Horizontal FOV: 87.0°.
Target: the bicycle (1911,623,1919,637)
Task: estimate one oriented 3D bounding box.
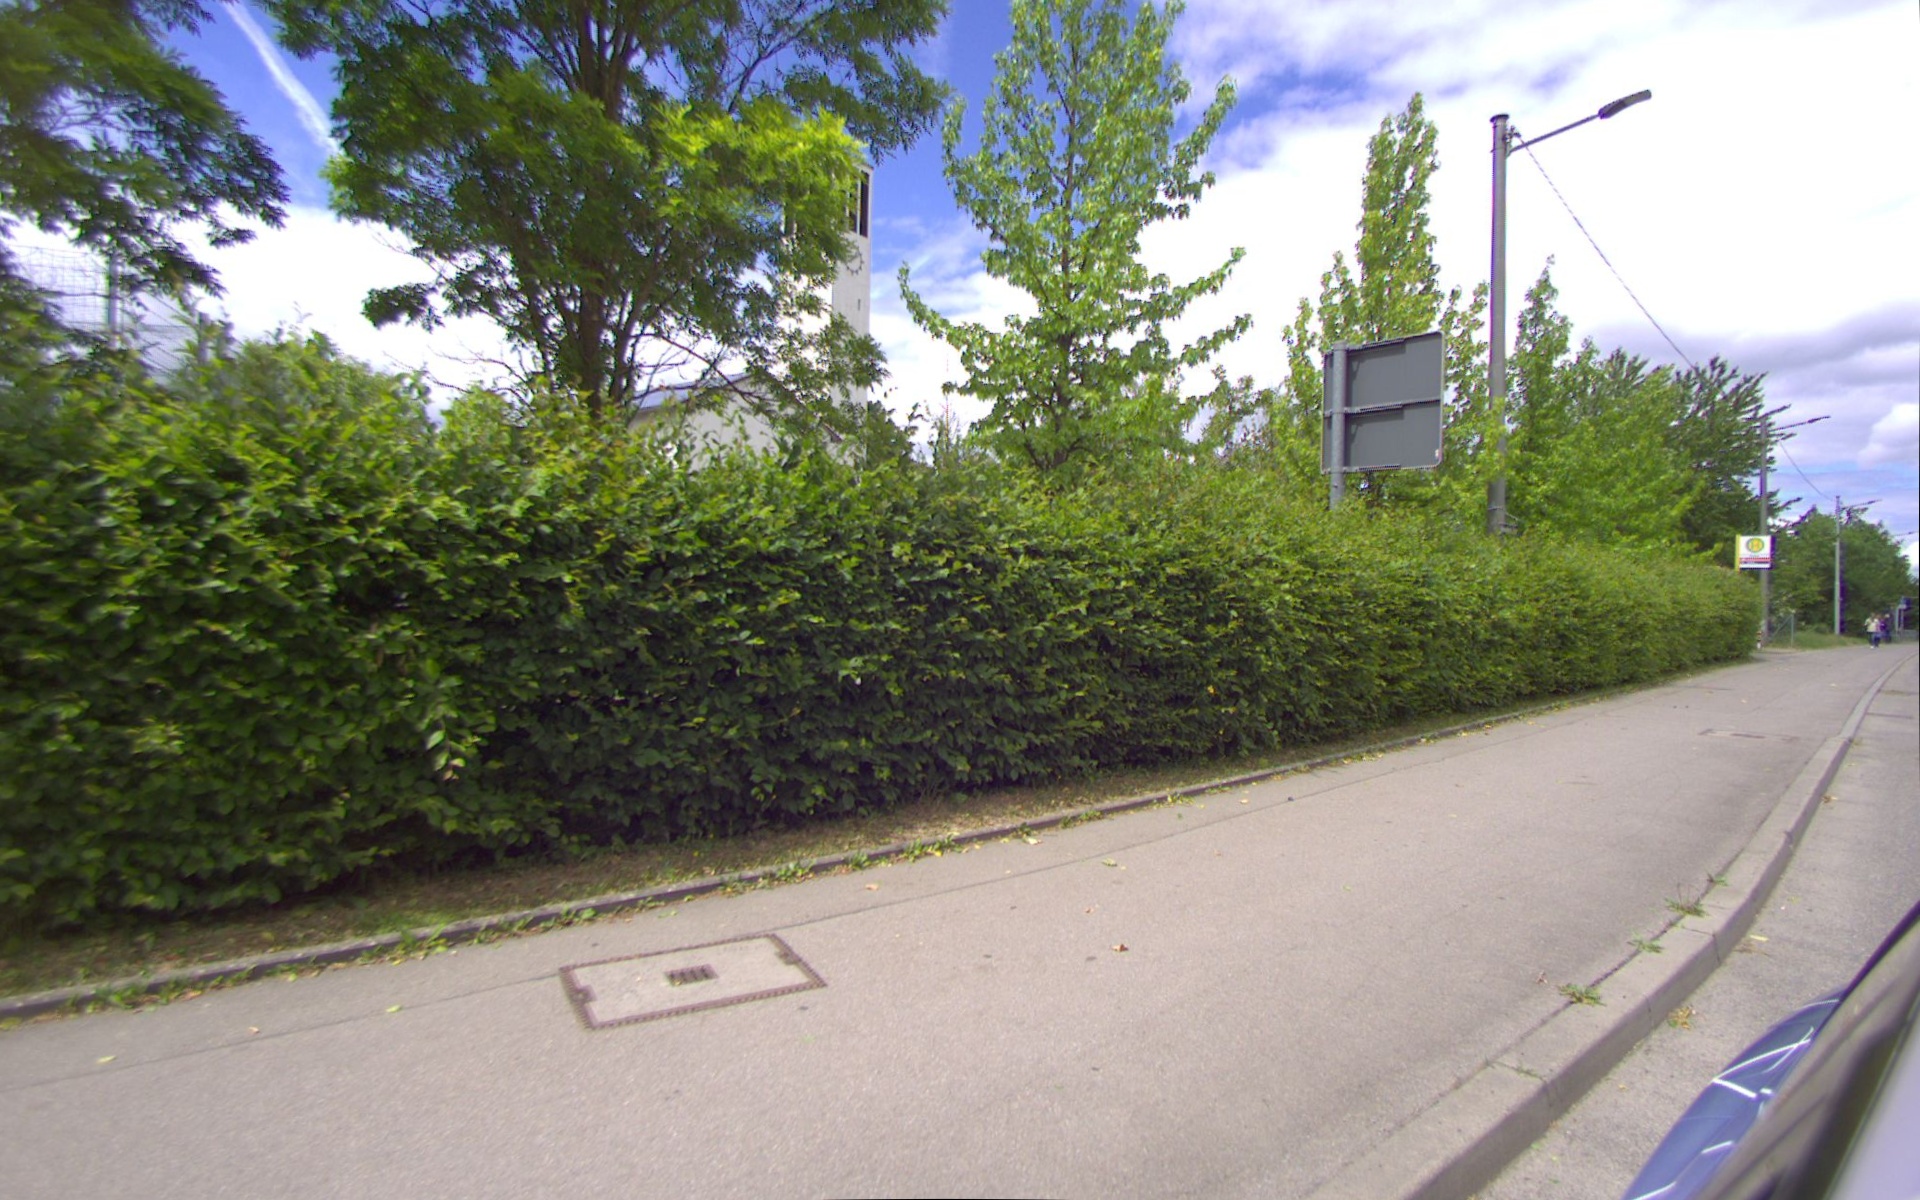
[{"bbox_3d":[84.719,2.645,88.605,0.522,1.165,2.090,2,-1,-44],"label":"bicycle"}]

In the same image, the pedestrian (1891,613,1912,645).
[{"bbox_3d":[55.851,1.703,60.033,0.786,1.907,0.747,1,-2,-36],"label":"pedestrian"}]

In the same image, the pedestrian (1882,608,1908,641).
[{"bbox_3d":[47.866,1.268,51.795,0.752,1.680,0.841,1,-2,-38],"label":"pedestrian"}]

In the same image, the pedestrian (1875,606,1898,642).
[{"bbox_3d":[43.763,1.120,47.816,0.677,1.680,0.687,1,-2,-38],"label":"pedestrian"}]

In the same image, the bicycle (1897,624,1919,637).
[{"bbox_3d":[80.040,2.574,84.887,0.549,1.061,2.092,1,-3,-39],"label":"bicycle"}]

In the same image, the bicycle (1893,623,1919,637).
[{"bbox_3d":[78.934,2.479,84.057,0.537,1.094,2.093,1,1,-39],"label":"bicycle"}]
